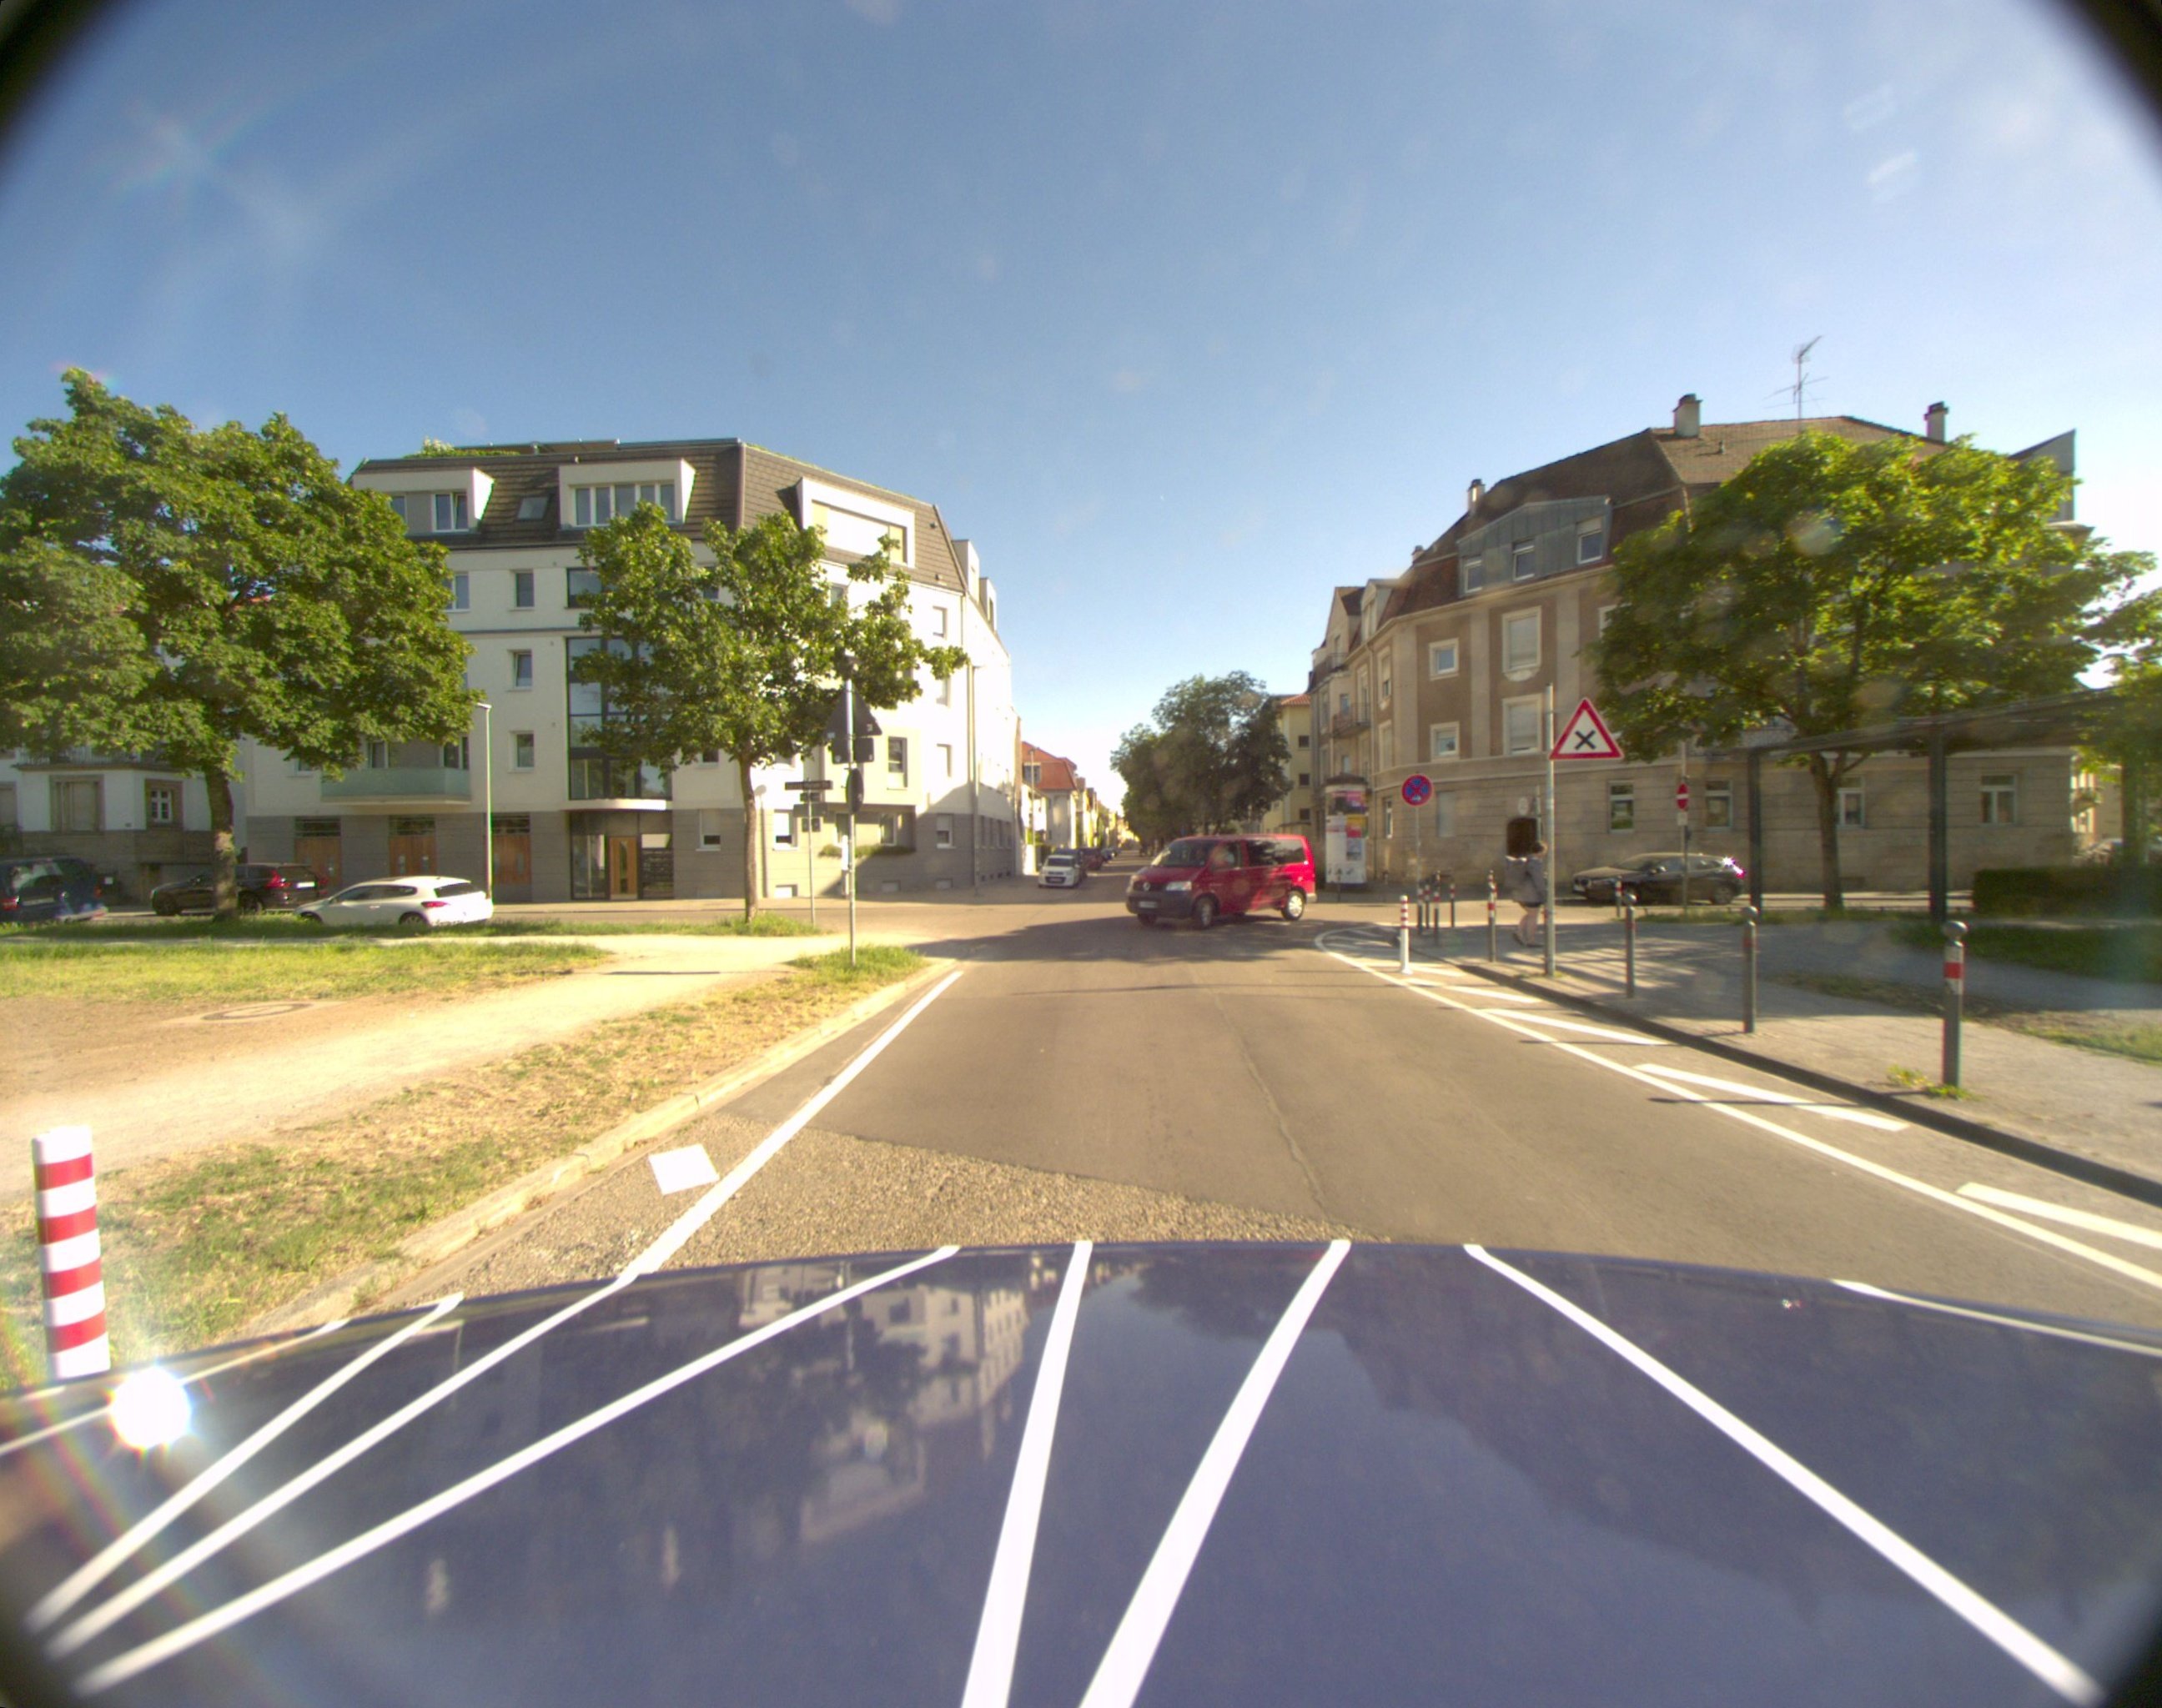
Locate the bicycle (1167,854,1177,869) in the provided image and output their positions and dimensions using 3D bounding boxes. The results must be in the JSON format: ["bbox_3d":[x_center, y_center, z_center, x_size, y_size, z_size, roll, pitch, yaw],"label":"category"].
[{"bbox_3d":[6.802,0.562,56.799,0.644,1.102,2.066,0,1,5],"label":"bicycle"}]

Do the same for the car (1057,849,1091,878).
[{"bbox_3d":[-0.368,0.523,45.040,1.664,1.533,4.067,2,1,4],"label":"car"}]

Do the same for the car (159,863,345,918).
[{"bbox_3d":[-27.543,1.183,25.330,4.284,1.673,1.896,0,2,5],"label":"car"}]

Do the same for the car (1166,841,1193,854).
[{"bbox_3d":[13.651,-0.846,105.368,3.527,1.693,1.692,-2,1,2],"label":"car"}]

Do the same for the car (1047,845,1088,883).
[{"bbox_3d":[-0.665,0.478,39.641,1.664,1.825,4.257,2,1,4],"label":"car"}]

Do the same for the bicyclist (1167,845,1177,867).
[{"bbox_3d":[6.794,0.173,56.751,0.644,1.610,0.637,0,1,5],"label":"bicyclist"}]

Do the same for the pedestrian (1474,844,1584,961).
[{"bbox_3d":[6.928,0.711,11.794,1.090,1.665,0.912,-4,2,-13],"label":"pedestrian"}]

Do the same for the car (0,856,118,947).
[{"bbox_3d":[-27.518,1.164,19.261,3.989,2.073,1.783,0,5,5],"label":"car"}]

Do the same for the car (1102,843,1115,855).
[{"bbox_3d":[4.241,-0.746,117.183,1.883,1.734,4.402,0,0,4],"label":"car"}]

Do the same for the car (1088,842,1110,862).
[{"bbox_3d":[1.787,-0.232,75.387,1.883,1.861,4.402,2,1,4],"label":"car"}]

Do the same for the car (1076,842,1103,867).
[{"bbox_3d":[0.728,0.042,61.391,1.883,1.861,4.402,2,1,4],"label":"car"}]

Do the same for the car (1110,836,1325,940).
[{"bbox_3d":[3.164,0.619,17.124,4.895,1.950,1.891,-2,3,-36],"label":"car"}]

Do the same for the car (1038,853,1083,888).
[{"bbox_3d":[-0.909,0.716,35.185,1.664,1.440,3.689,2,1,4],"label":"car"}]

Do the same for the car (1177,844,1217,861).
[{"bbox_3d":[11.161,-0.171,72.947,3.528,1.486,1.692,-2,1,-1],"label":"car"}]

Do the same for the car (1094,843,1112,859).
[{"bbox_3d":[2.631,-0.367,90.898,1.883,1.860,4.402,0,0,4],"label":"car"}]

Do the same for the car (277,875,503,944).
[{"bbox_3d":[-16.953,1.339,18.766,3.990,1.426,1.739,-1,5,4],"label":"car"}]

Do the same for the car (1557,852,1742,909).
[{"bbox_3d":[16.680,0.764,22.457,4.011,1.476,1.867,-1,4,1],"label":"car"}]
